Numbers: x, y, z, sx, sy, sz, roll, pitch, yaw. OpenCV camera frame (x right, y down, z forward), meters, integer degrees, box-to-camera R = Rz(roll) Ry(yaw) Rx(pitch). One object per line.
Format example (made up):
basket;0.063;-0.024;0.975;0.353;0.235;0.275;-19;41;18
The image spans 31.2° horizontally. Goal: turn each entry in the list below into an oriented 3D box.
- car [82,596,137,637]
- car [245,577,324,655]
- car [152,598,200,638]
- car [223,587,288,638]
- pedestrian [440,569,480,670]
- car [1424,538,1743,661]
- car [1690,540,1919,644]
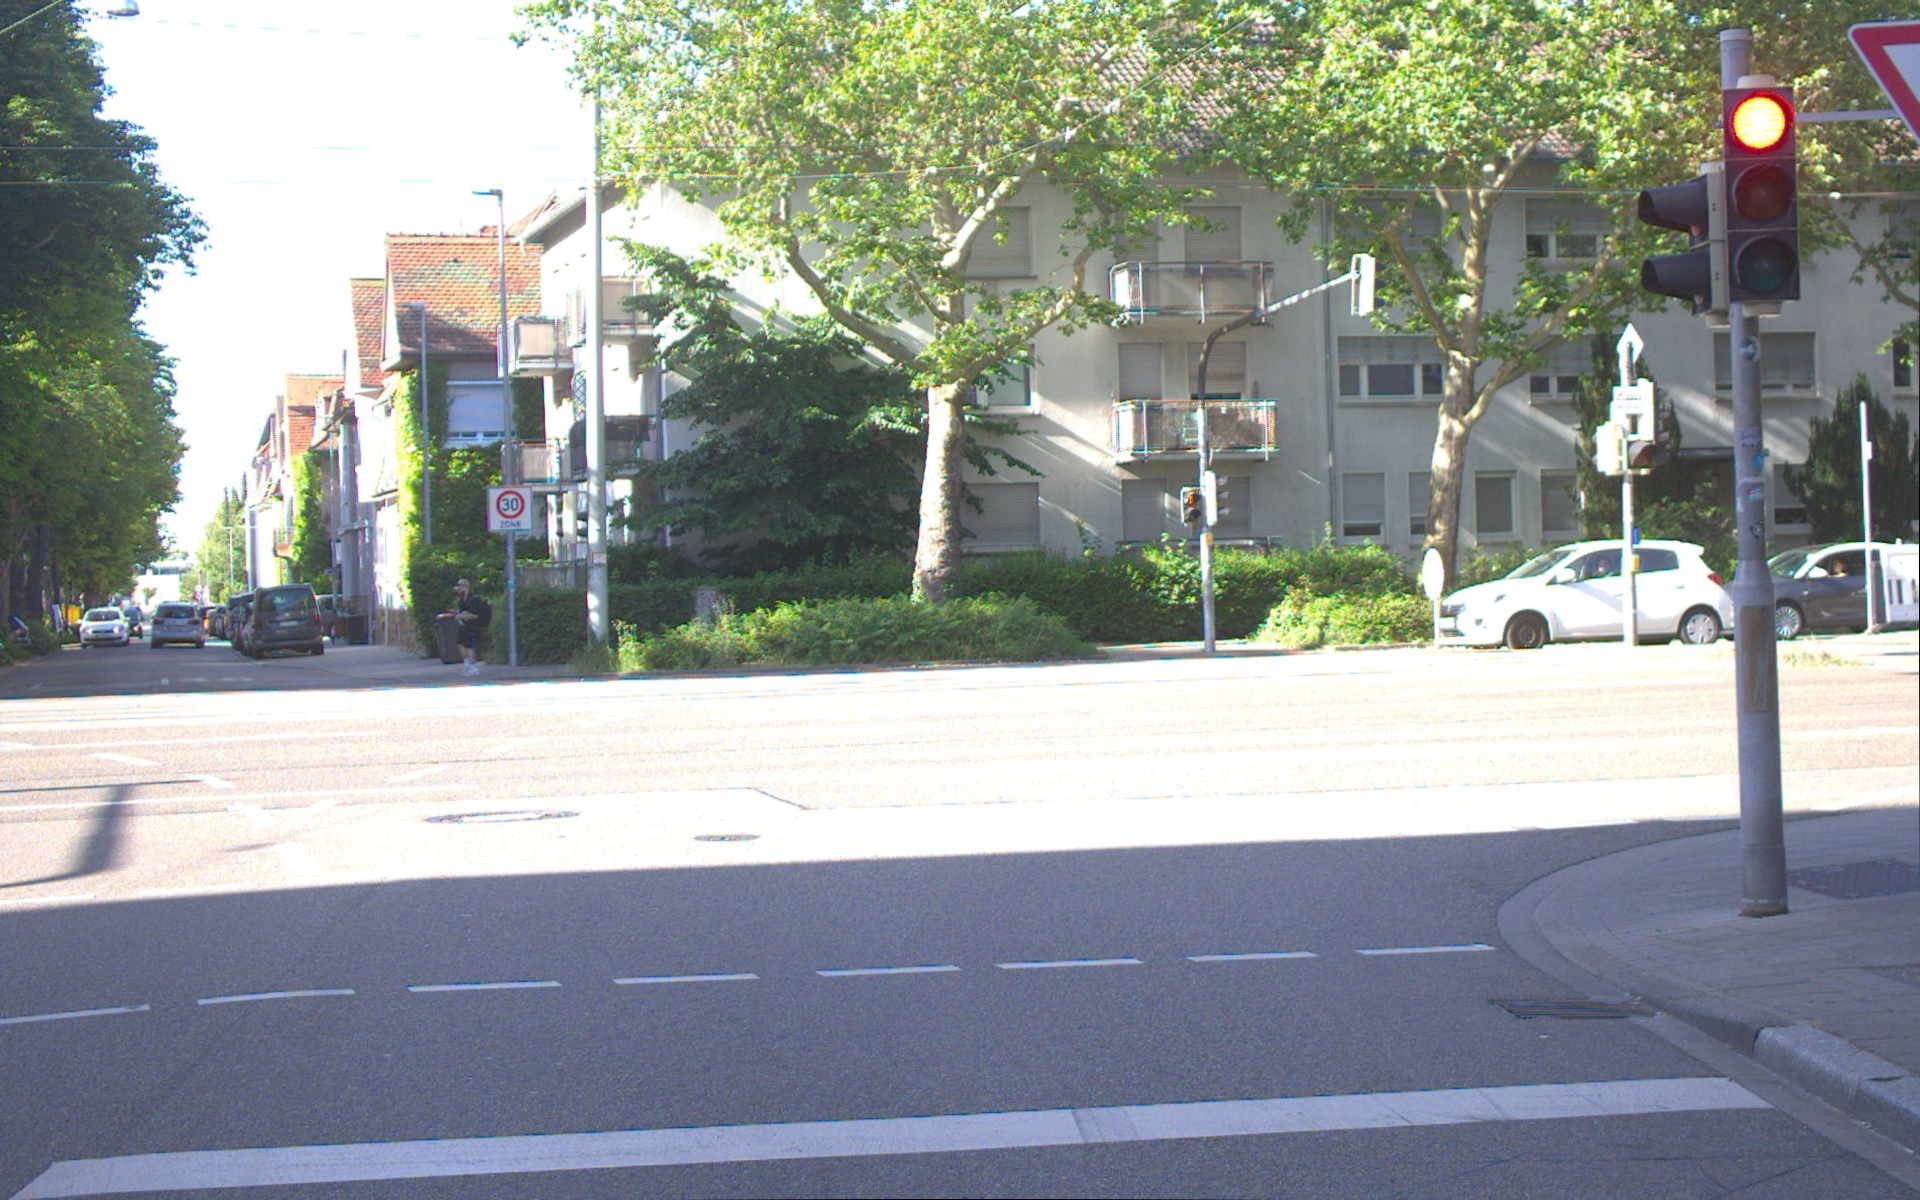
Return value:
car;-33.002;0.637;133.318;1.993;1.441;4.001;-2;1;-15
car;-18.568;0.416;94.615;1.993;2.007;4.001;-2;1;-10
car;-29.465;0.659;129.198;1.673;1.477;3.523;-1;0;-12
car;-25.718;0.444;125.378;1.993;1.826;4.001;-1;0;-16
pedestrian;-8.739;0.338;60.157;0.633;1.744;0.659;-1;0;-4
car;8.241;-0.020;45.580;3.786;1.467;1.630;-2;1;-11
car;13.200;-0.134;53.298;3.379;1.482;1.525;-2;1;-22
